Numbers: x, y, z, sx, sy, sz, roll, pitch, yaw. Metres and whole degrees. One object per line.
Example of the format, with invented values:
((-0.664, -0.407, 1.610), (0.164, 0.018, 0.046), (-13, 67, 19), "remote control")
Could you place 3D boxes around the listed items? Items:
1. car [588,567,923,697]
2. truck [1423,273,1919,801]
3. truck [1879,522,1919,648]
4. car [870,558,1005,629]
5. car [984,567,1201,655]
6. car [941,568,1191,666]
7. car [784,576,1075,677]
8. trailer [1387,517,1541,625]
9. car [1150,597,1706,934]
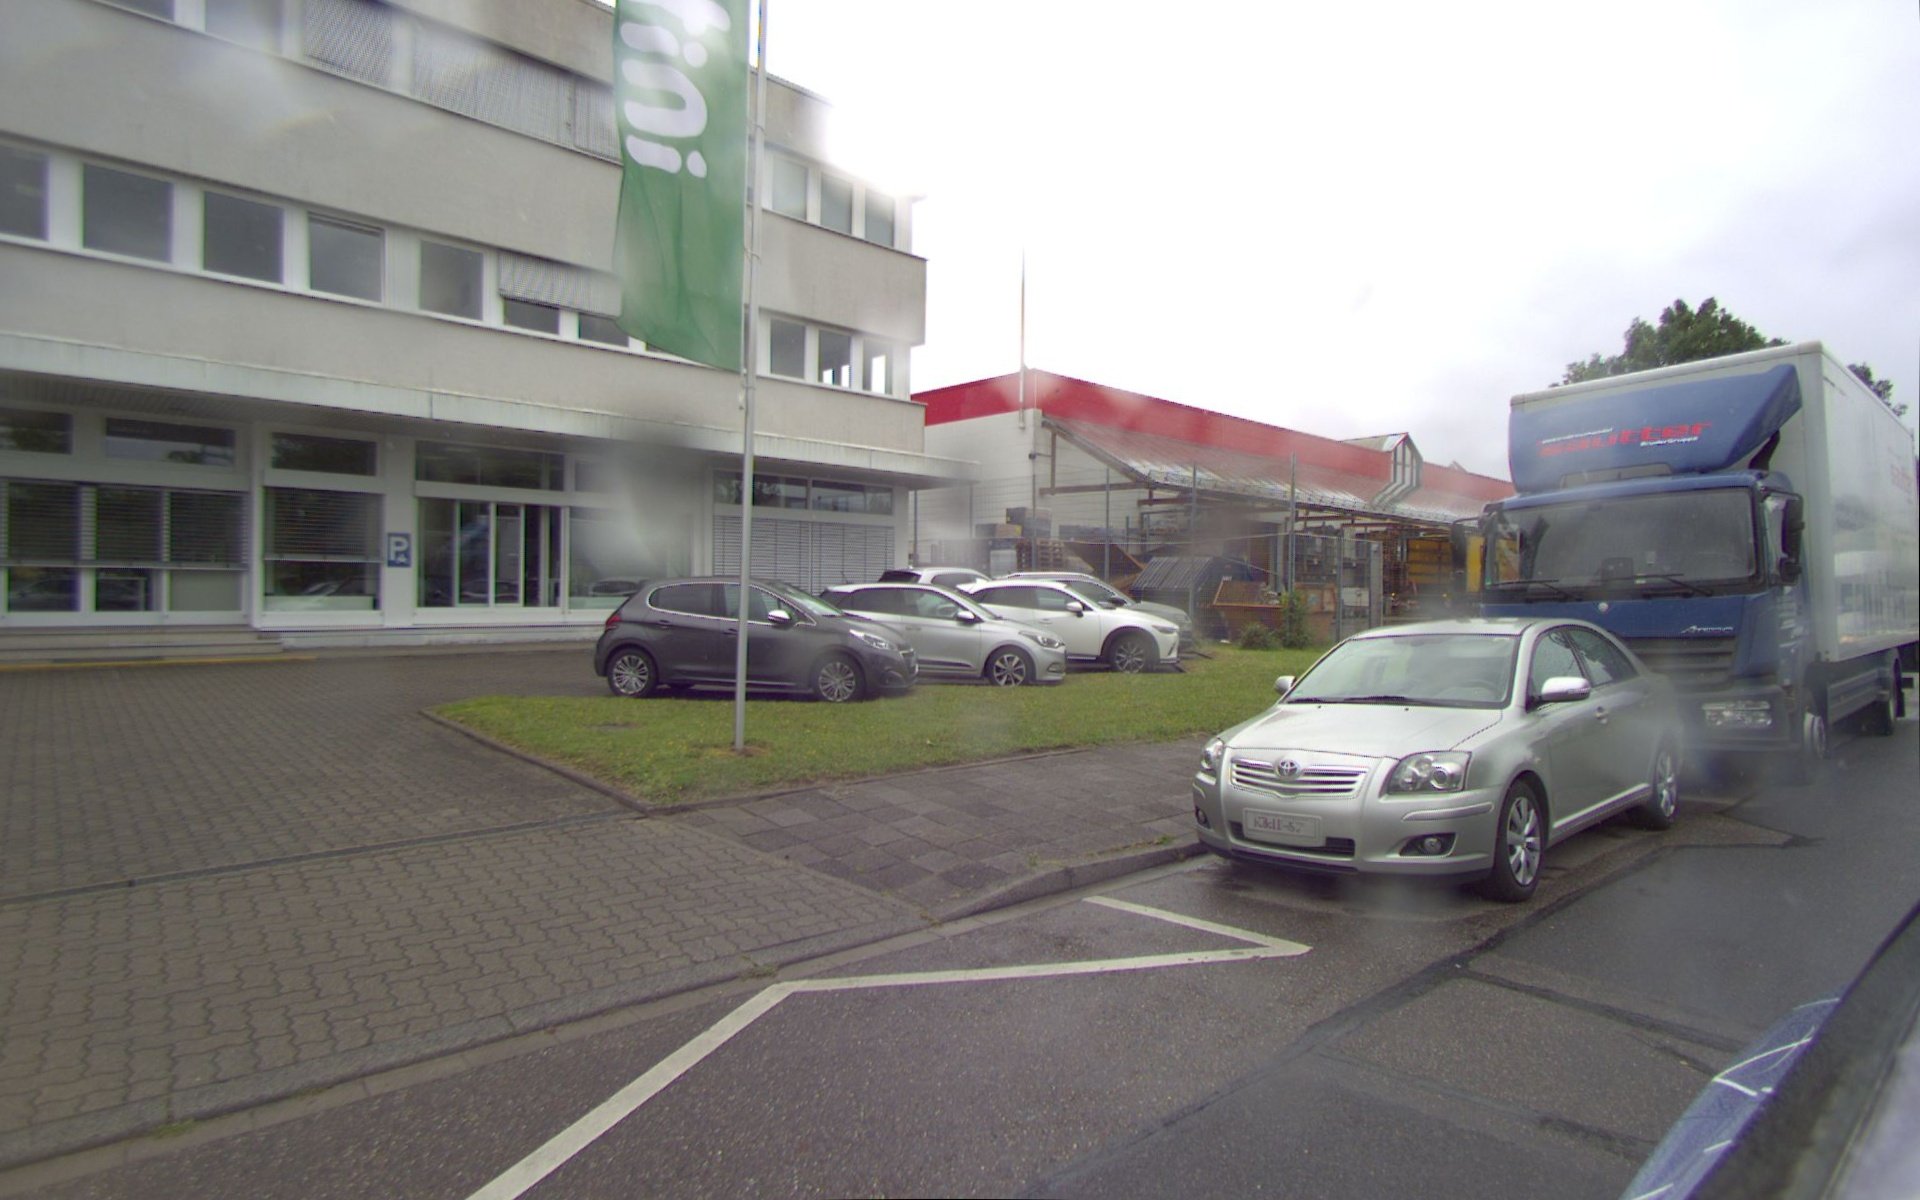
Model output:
((-2.404, 0.343, 12.422), (3.702, 1.410, 1.704), (1, 1, 6), "car")
((8.670, -0.446, 11.426), (9.138, 3.838, 2.744), (0, -2, -42), "truck")
((31.902, -0.471, 32.513), (7.872, 3.740, 2.674), (0, -2, -42), "truck")
((-0.468, -0.150, 22.062), (2.700, 1.443, 1.400), (0, 1, -42), "car")
((2.454, 0.180, 19.424), (3.928, 1.546, 1.871), (1, 1, 4), "car")
((1.720, 0.246, 16.969), (3.928, 1.488, 1.774), (1, 1, 4), "car")
((-0.380, 0.337, 14.506), (3.928, 1.302, 1.705), (1, 1, 4), "car")
((22.498, -1.210, 44.867), (9.311, 4.296, 2.970), (0, 1, -43), "trailer")
((3.277, 0.734, 6.631), (4.271, 1.459, 1.800), (0, 1, -42), "car")
